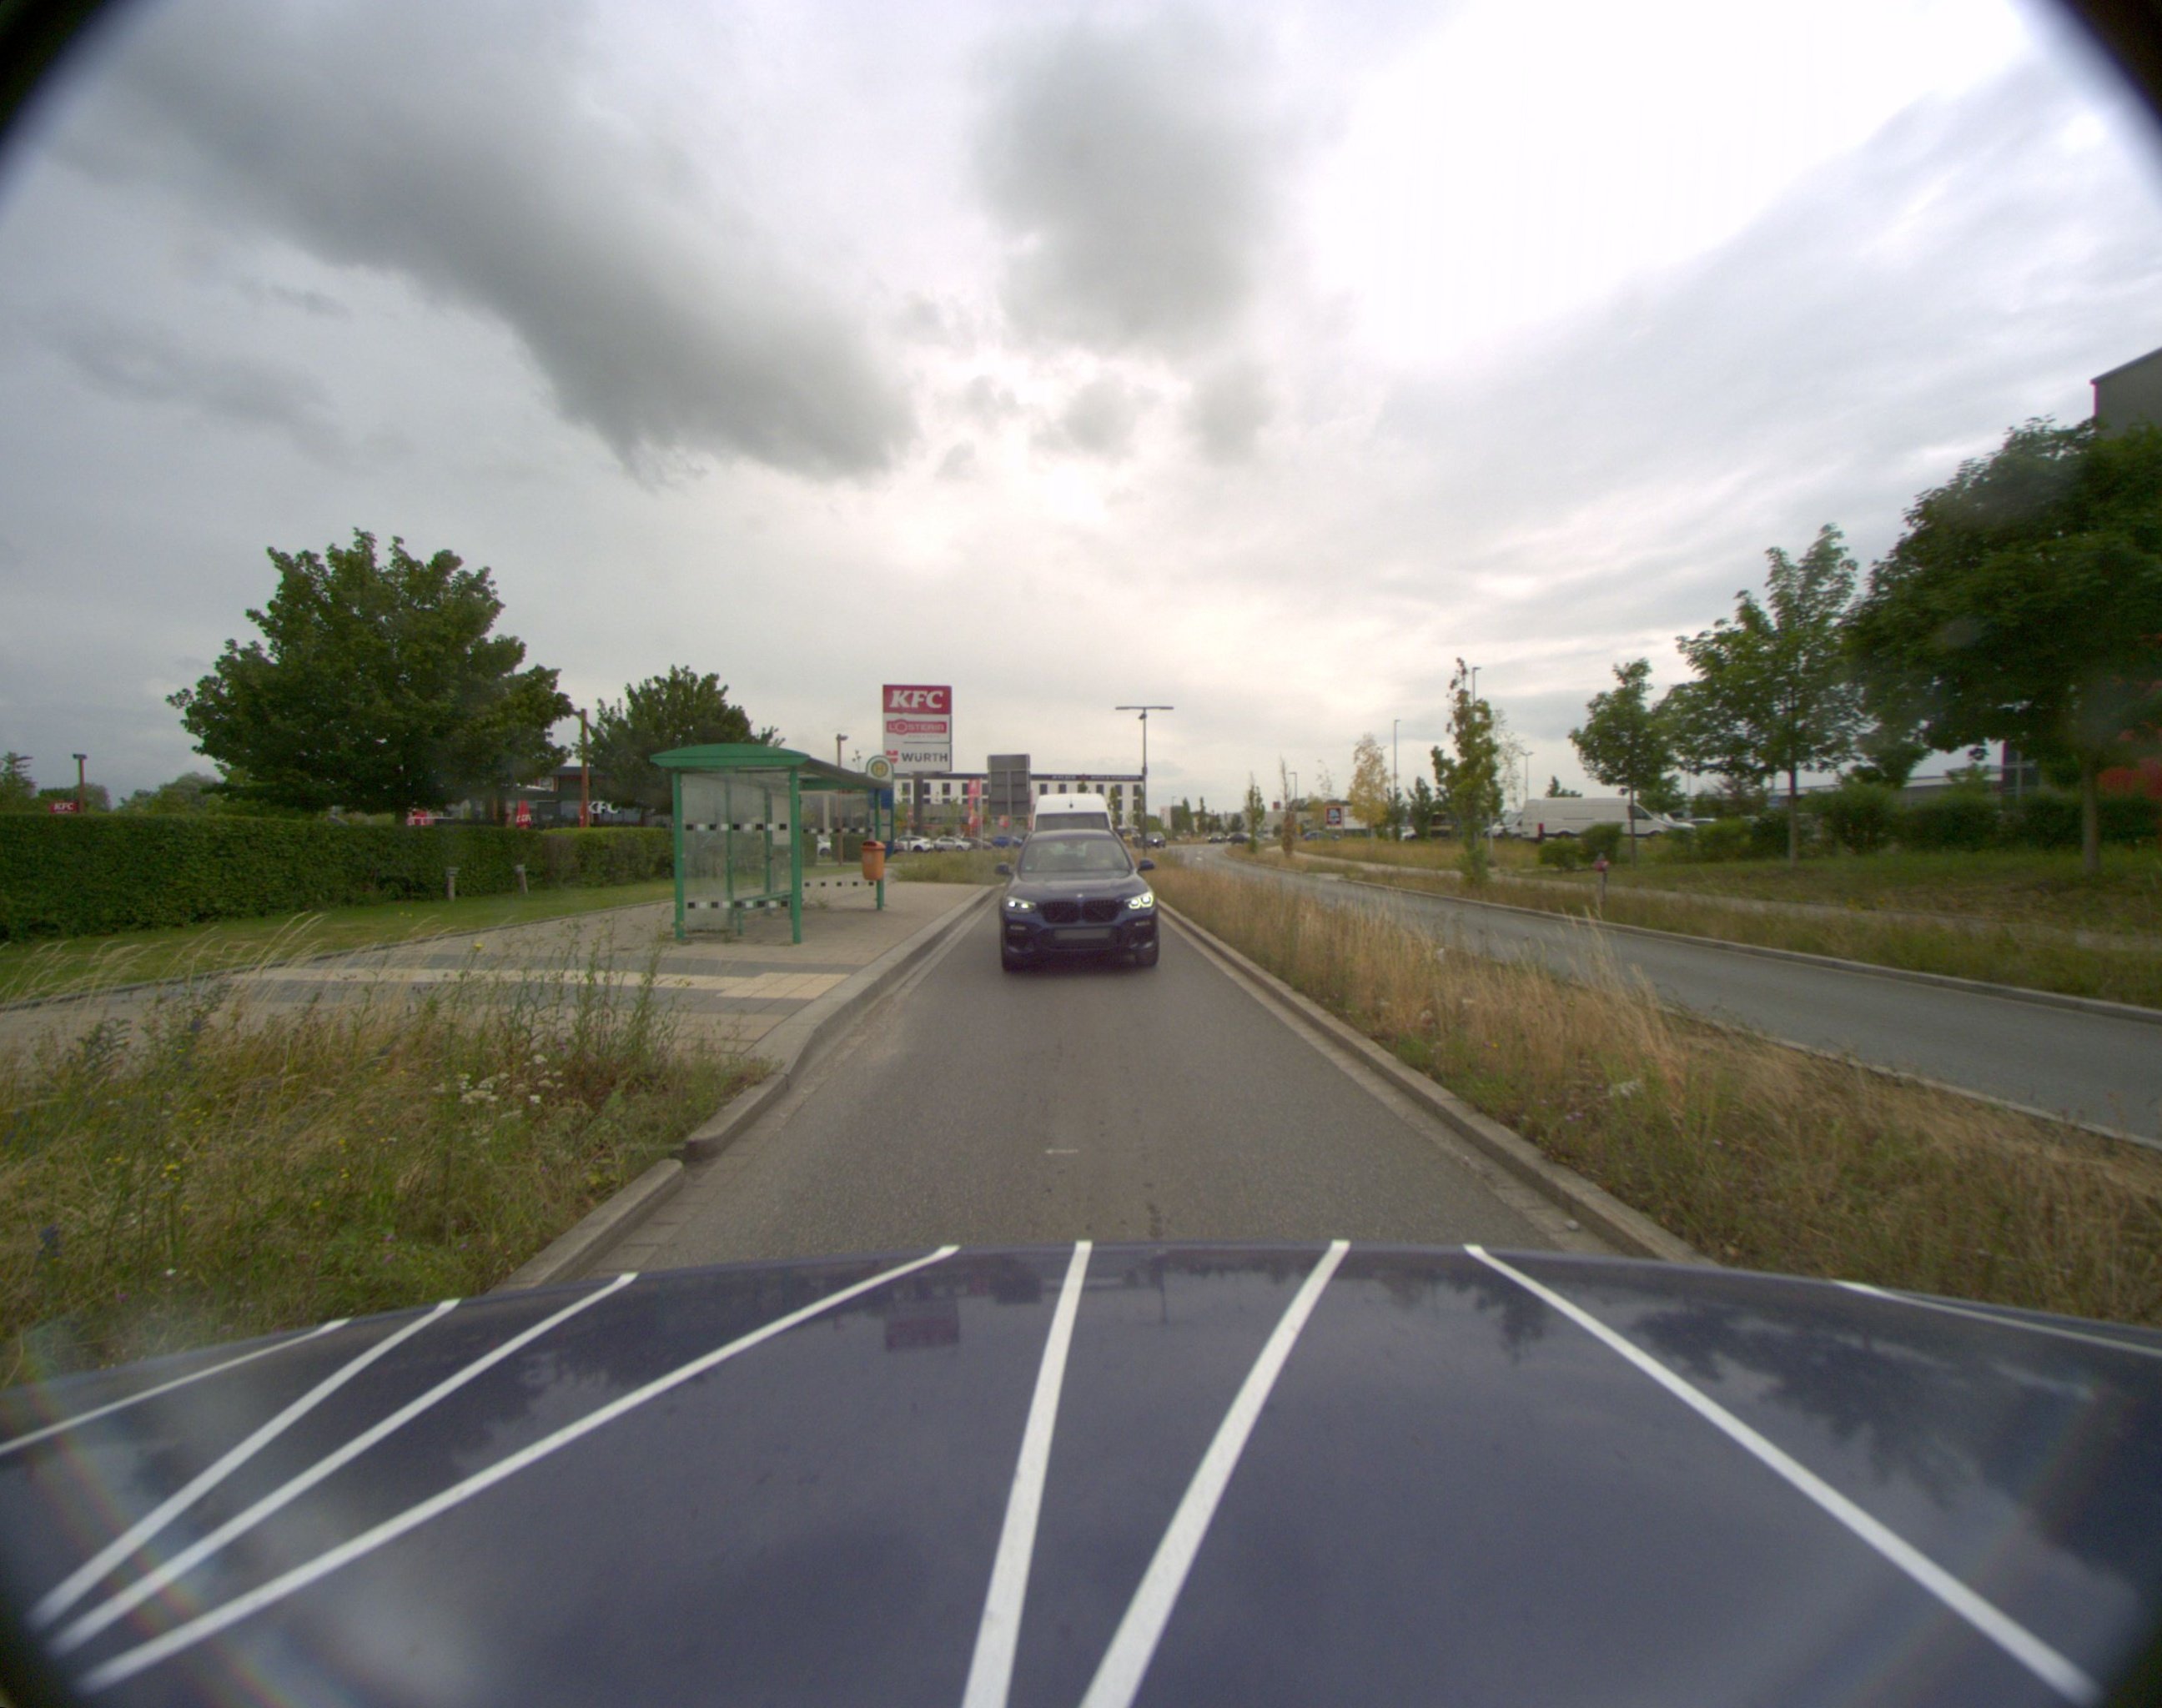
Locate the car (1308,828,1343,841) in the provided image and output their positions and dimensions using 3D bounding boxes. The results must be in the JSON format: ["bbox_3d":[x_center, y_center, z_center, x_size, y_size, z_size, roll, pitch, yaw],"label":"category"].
[{"bbox_3d":[29.007,-2.293,90.098,3.991,1.504,1.737,0,2,19],"label":"car"}]

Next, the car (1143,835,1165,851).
[{"bbox_3d":[7.706,-1.168,79.807,1.997,1.565,4.001,-2,2,10],"label":"car"}]

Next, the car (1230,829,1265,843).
[{"bbox_3d":[20.709,-2.217,94.370,3.991,1.565,2.002,-1,3,21],"label":"car"}]

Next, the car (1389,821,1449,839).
[{"bbox_3d":[33.147,-2.346,74.588,5.049,1.647,2.065,0,2,9],"label":"car"}]

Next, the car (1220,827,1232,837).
[{"bbox_3d":[25.597,-3.847,134.102,1.997,1.565,4.001,-2,2,10],"label":"car"}]

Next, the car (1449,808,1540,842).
[{"bbox_3d":[28.300,-1.976,52.106,5.051,2.211,2.065,0,2,6],"label":"car"}]

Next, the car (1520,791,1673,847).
[{"bbox_3d":[26.609,-1.795,39.395,6.413,2.610,2.064,-2,3,3],"label":"car"}]

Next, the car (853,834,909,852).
[{"bbox_3d":[-16.213,-0.895,61.642,3.994,1.478,1.848,0,2,7],"label":"car"}]

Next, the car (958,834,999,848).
[{"bbox_3d":[-11.177,-1.423,82.904,3.993,1.478,1.848,0,2,12],"label":"car"}]

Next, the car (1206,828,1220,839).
[{"bbox_3d":[19.495,-3.073,112.297,1.997,1.565,4.001,-2,2,10],"label":"car"}]

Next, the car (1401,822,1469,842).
[{"bbox_3d":[31.300,-1.929,67.317,5.049,1.647,2.065,0,2,9],"label":"car"}]

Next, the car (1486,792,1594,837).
[{"bbox_3d":[26.758,-2.290,44.385,5.054,2.360,2.063,-2,3,0],"label":"car"}]

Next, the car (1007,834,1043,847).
[{"bbox_3d":[-7.003,-1.683,94.737,3.992,1.478,1.848,-1,3,16],"label":"car"}]

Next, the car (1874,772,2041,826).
[{"bbox_3d":[42.361,-2.594,36.956,2.064,2.360,5.053,-2,2,-5],"label":"car"}]

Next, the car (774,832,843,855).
[{"bbox_3d":[-18.462,-0.739,51.568,3.997,1.519,1.846,0,2,0],"label":"car"}]

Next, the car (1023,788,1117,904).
[{"bbox_3d":[-0.309,-0.249,19.514,2.026,2.513,6.102,-1,2,-1],"label":"car"}]

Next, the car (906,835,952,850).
[{"bbox_3d":[-14.769,-1.126,73.815,3.995,1.478,1.848,0,2,7],"label":"car"}]

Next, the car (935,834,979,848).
[{"bbox_3d":[-12.787,-1.355,78.315,3.993,1.478,1.848,0,2,12],"label":"car"}]

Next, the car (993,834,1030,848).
[{"bbox_3d":[-8.406,-1.582,92.400,3.992,1.478,1.848,-1,3,16],"label":"car"}]

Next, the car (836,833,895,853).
[{"bbox_3d":[-16.755,-0.861,59.124,3.994,1.478,1.848,0,2,7],"label":"car"}]

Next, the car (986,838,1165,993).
[{"bbox_3d":[-0.101,0.605,9.972,1.867,1.599,3.998,-1,2,-1],"label":"car"}]

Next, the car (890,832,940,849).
[{"bbox_3d":[-14.945,-1.197,68.560,3.994,1.514,1.848,0,2,7],"label":"car"}]
